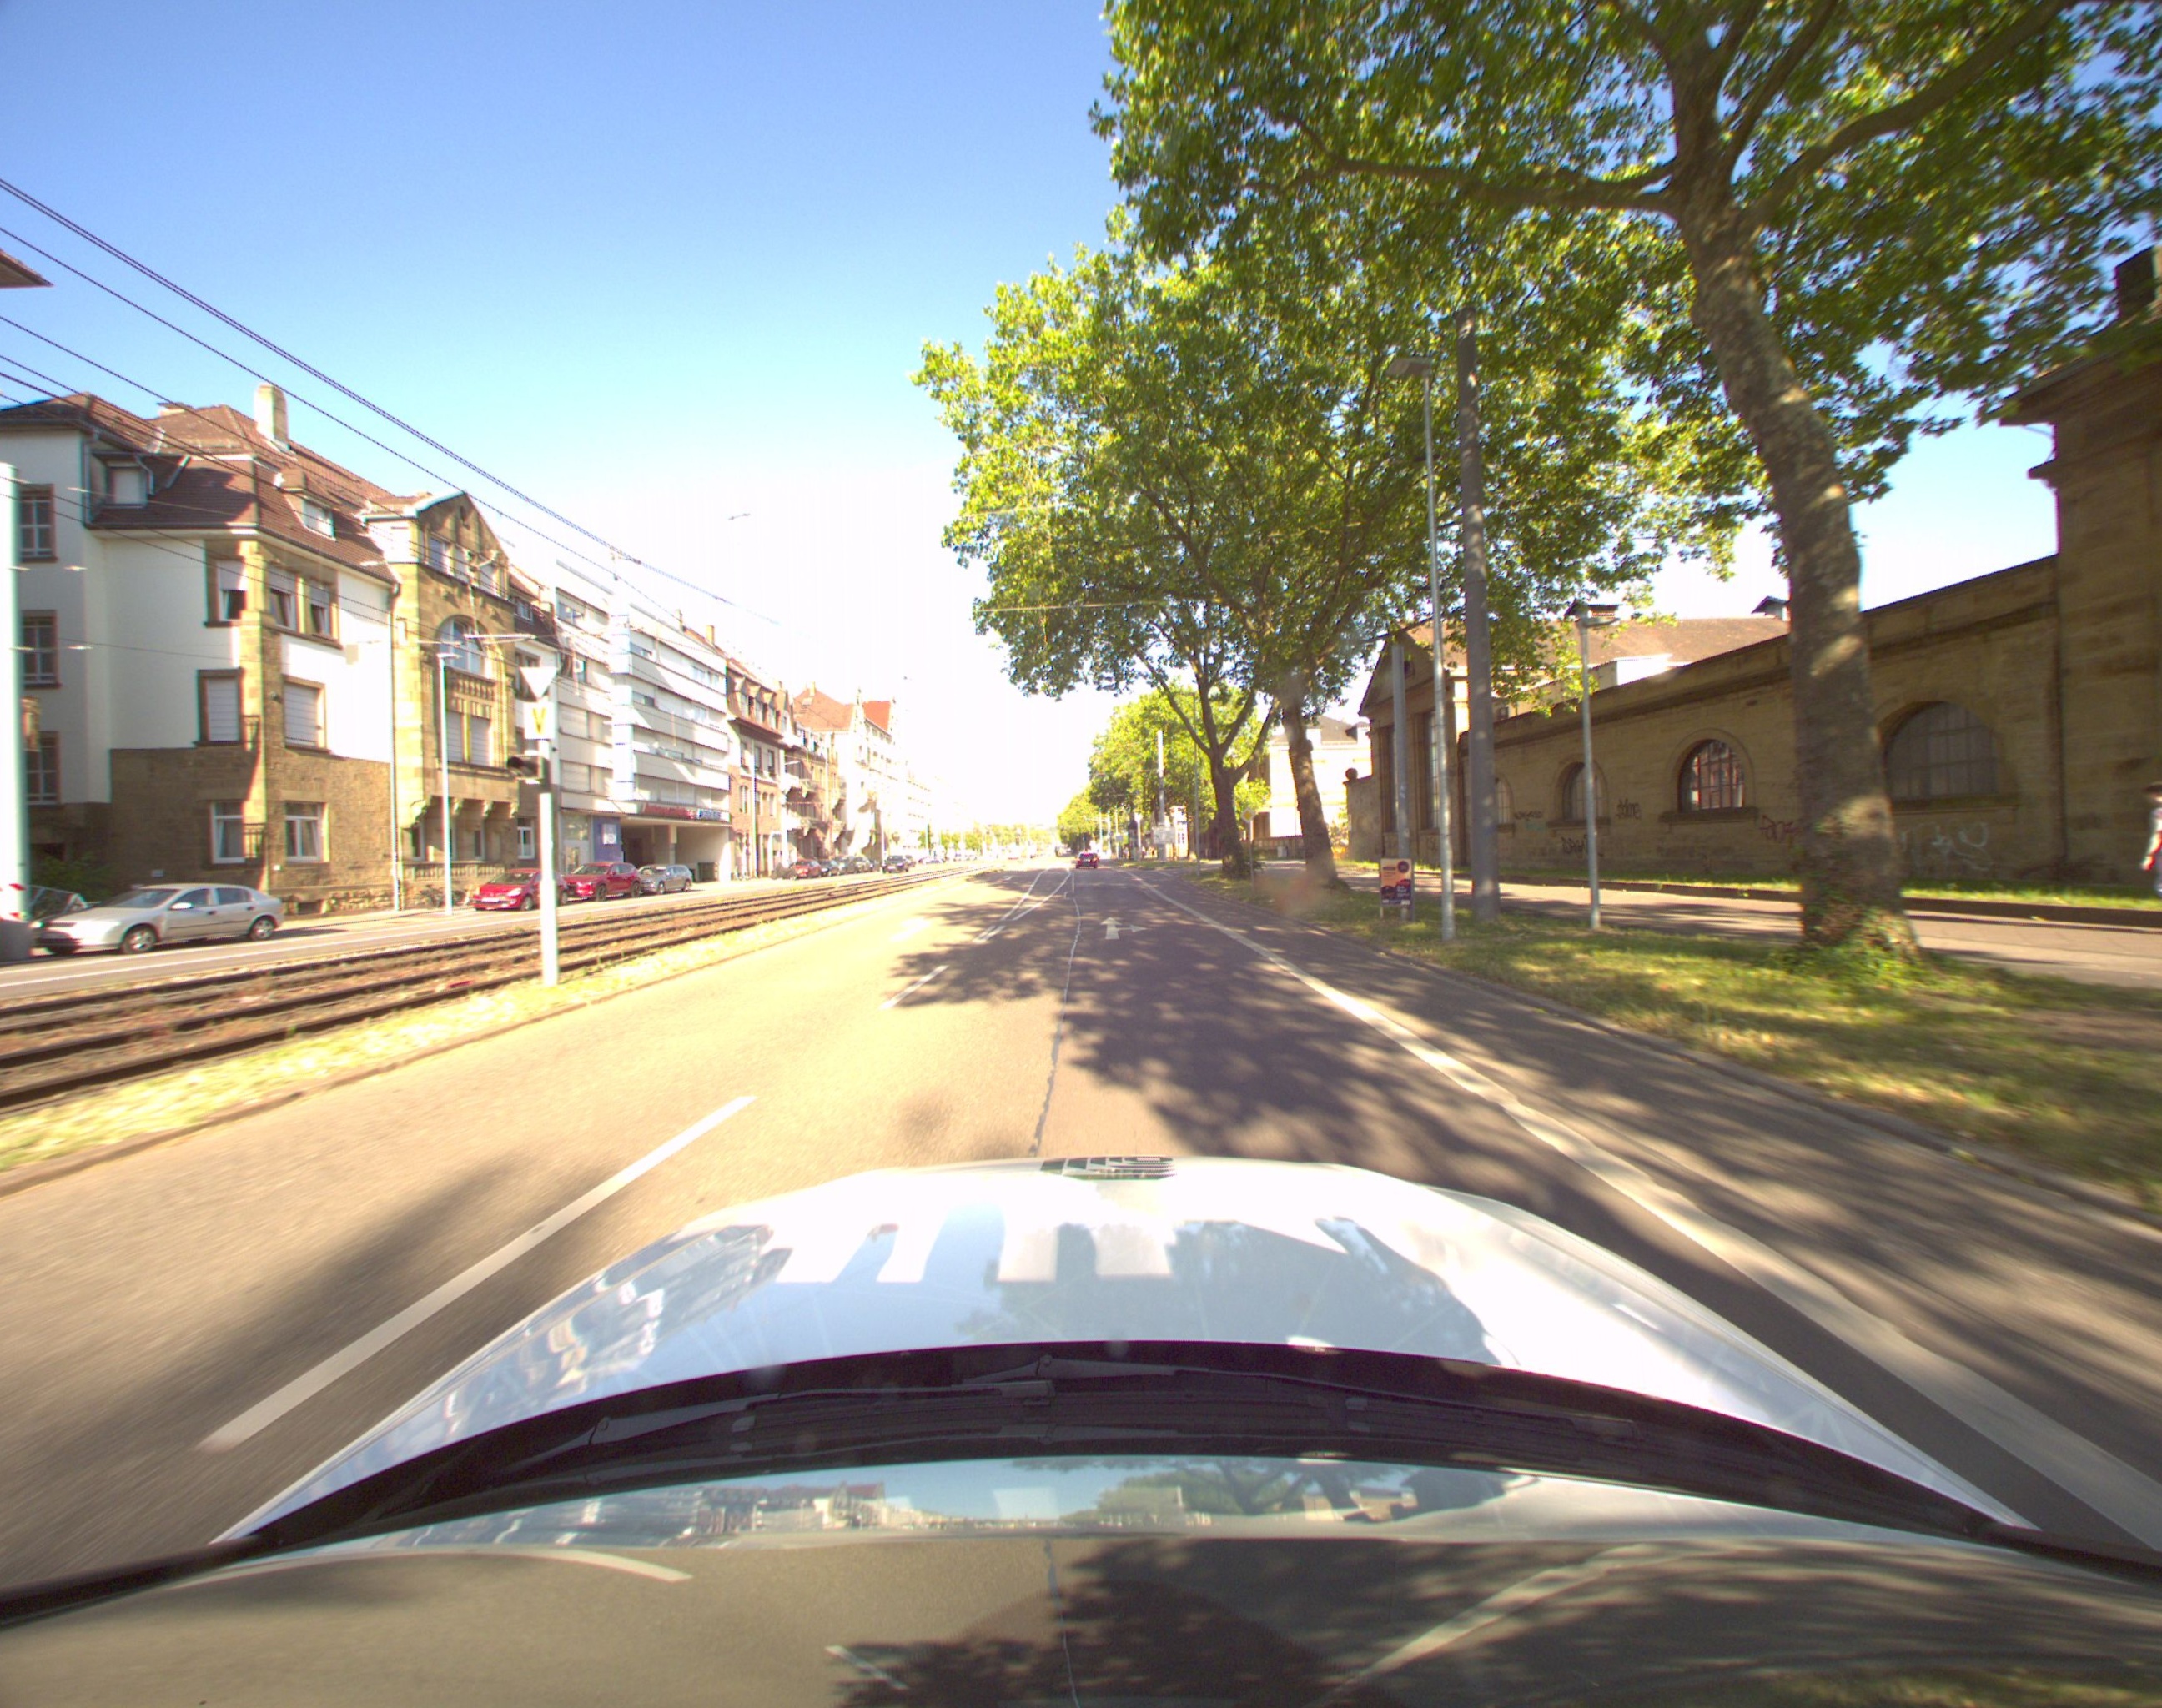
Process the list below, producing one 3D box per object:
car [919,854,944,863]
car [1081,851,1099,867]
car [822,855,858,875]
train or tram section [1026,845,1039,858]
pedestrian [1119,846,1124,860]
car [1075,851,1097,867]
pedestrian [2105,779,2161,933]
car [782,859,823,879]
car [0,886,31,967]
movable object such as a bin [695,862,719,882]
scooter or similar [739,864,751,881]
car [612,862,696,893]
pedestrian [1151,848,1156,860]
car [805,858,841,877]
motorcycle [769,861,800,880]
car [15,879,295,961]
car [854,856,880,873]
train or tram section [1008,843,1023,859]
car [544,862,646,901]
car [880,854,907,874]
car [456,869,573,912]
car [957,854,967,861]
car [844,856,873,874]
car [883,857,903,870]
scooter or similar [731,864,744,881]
[{"bbox_3d":[-24.652,0.706,134.733,3.984,1.510,1.795,0,-1,-8],"label":"car"},{"bbox_3d":[0.931,0.530,84.145,1.789,1.510,3.999,-2,0,-1],"label":"car"},{"bbox_3d":[-21.661,0.969,73.424,1.787,1.754,4.457,2,0,2],"label":"car"},{"bbox_3d":[-12.878,-0.684,214.991,2.816,3.450,9.062,-2,0,0],"label":"train or tram section"},{"bbox_3d":[5.171,-0.093,103.803,0.584,1.728,0.652,0,0,11],"label":"pedestrian"},{"bbox_3d":[0.431,0.453,73.160,1.828,1.391,4.156,-1,0,-2],"label":"car"},{"bbox_3d":[12.230,0.008,9.118,0.607,1.681,0.635,-6,0,-3],"label":"pedestrian"},{"bbox_3d":[-21.691,1.140,63.512,1.790,1.460,4.263,2,0,-2],"label":"car"},{"bbox_3d":[-20.575,1.345,13.319,1.633,1.469,4.150,1,0,-6],"label":"car"},{"bbox_3d":[-26.406,1.299,57.545,1.410,1.371,0.633,-1,0,-8],"label":"movable object such as a bin"},{"bbox_3d":[-24.387,1.314,59.153,0.390,1.205,1.200,1,0,0],"label":"scooter or similar"},{"bbox_3d":[-21.281,1.134,40.807,1.828,1.391,4.679,-1,0,-2],"label":"car"},{"bbox_3d":[10.502,-0.059,118.426,0.584,1.728,0.652,0,0,13],"label":"pedestrian"},{"bbox_3d":[-21.632,1.122,68.432,1.789,1.510,3.998,2,0,-1],"label":"car"},{"bbox_3d":[-21.874,1.224,60.110,2.072,1.327,0.836,1,0,-17],"label":"motorcycle"},{"bbox_3d":[-20.744,1.398,18.558,1.630,1.469,4.157,0,1,-1],"label":"car"},{"bbox_3d":[-22.082,1.014,84.197,1.682,1.652,4.197,2,0,-1],"label":"car"},{"bbox_3d":[-14.755,-0.620,184.113,2.817,3.450,9.060,-2,0,-1],"label":"train or tram section"},{"bbox_3d":[-21.123,1.145,35.610,1.827,1.558,4.352,0,0,0],"label":"car"},{"bbox_3d":[-16.624,0.860,72.395,1.631,1.601,4.154,-3,0,-3],"label":"car"},{"bbox_3d":[-21.017,1.321,30.432,1.831,1.391,4.027,2,0,-6],"label":"car"},{"bbox_3d":[-25.375,0.698,173.979,1.790,1.510,3.995,-2,0,-4],"label":"car"},{"bbox_3d":[-21.677,1.029,79.578,1.682,1.652,4.197,2,0,-1],"label":"car"},{"bbox_3d":[-22.363,1.118,96.974,1.792,1.510,3.992,2,0,-6],"label":"car"},{"bbox_3d":[-24.951,1.307,59.208,0.390,1.205,1.200,1,0,0],"label":"scooter or similar"}]
